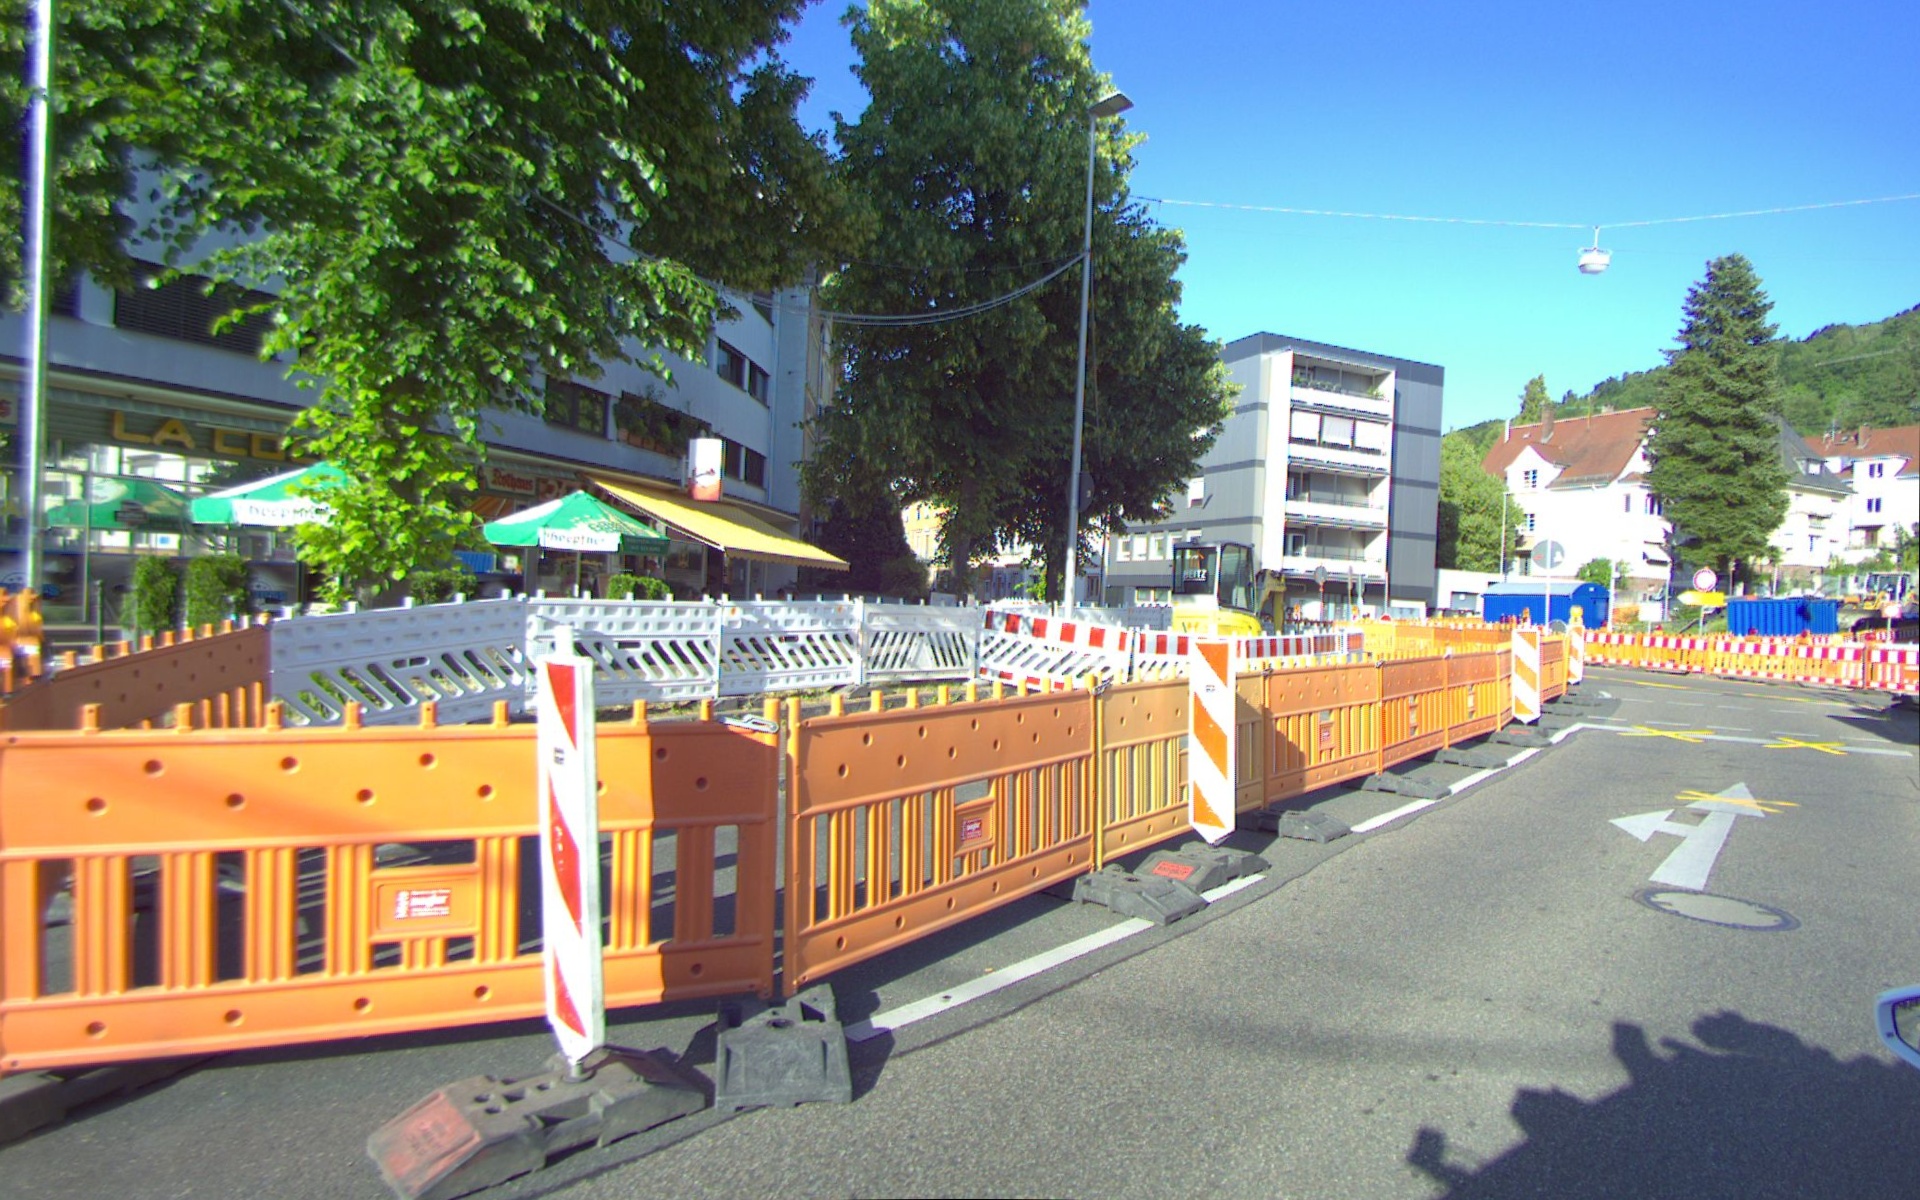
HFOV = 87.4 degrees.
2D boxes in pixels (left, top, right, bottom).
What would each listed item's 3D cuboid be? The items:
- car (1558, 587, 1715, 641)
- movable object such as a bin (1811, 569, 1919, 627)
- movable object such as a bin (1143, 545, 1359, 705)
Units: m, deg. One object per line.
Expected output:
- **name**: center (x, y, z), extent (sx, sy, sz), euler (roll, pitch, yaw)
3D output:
- **car**: center (29.812, 0.634, 44.296), extent (6.055, 2.149, 2.581), euler (2, 0, -19)
- **movable object such as a bin**: center (43.010, -0.075, 47.659), extent (4.480, 2.527, 1.947), euler (2, 0, -19)
- **movable object such as a bin**: center (4.909, 0.397, 16.683), extent (3.892, 2.356, 1.631), euler (2, 0, -42)
